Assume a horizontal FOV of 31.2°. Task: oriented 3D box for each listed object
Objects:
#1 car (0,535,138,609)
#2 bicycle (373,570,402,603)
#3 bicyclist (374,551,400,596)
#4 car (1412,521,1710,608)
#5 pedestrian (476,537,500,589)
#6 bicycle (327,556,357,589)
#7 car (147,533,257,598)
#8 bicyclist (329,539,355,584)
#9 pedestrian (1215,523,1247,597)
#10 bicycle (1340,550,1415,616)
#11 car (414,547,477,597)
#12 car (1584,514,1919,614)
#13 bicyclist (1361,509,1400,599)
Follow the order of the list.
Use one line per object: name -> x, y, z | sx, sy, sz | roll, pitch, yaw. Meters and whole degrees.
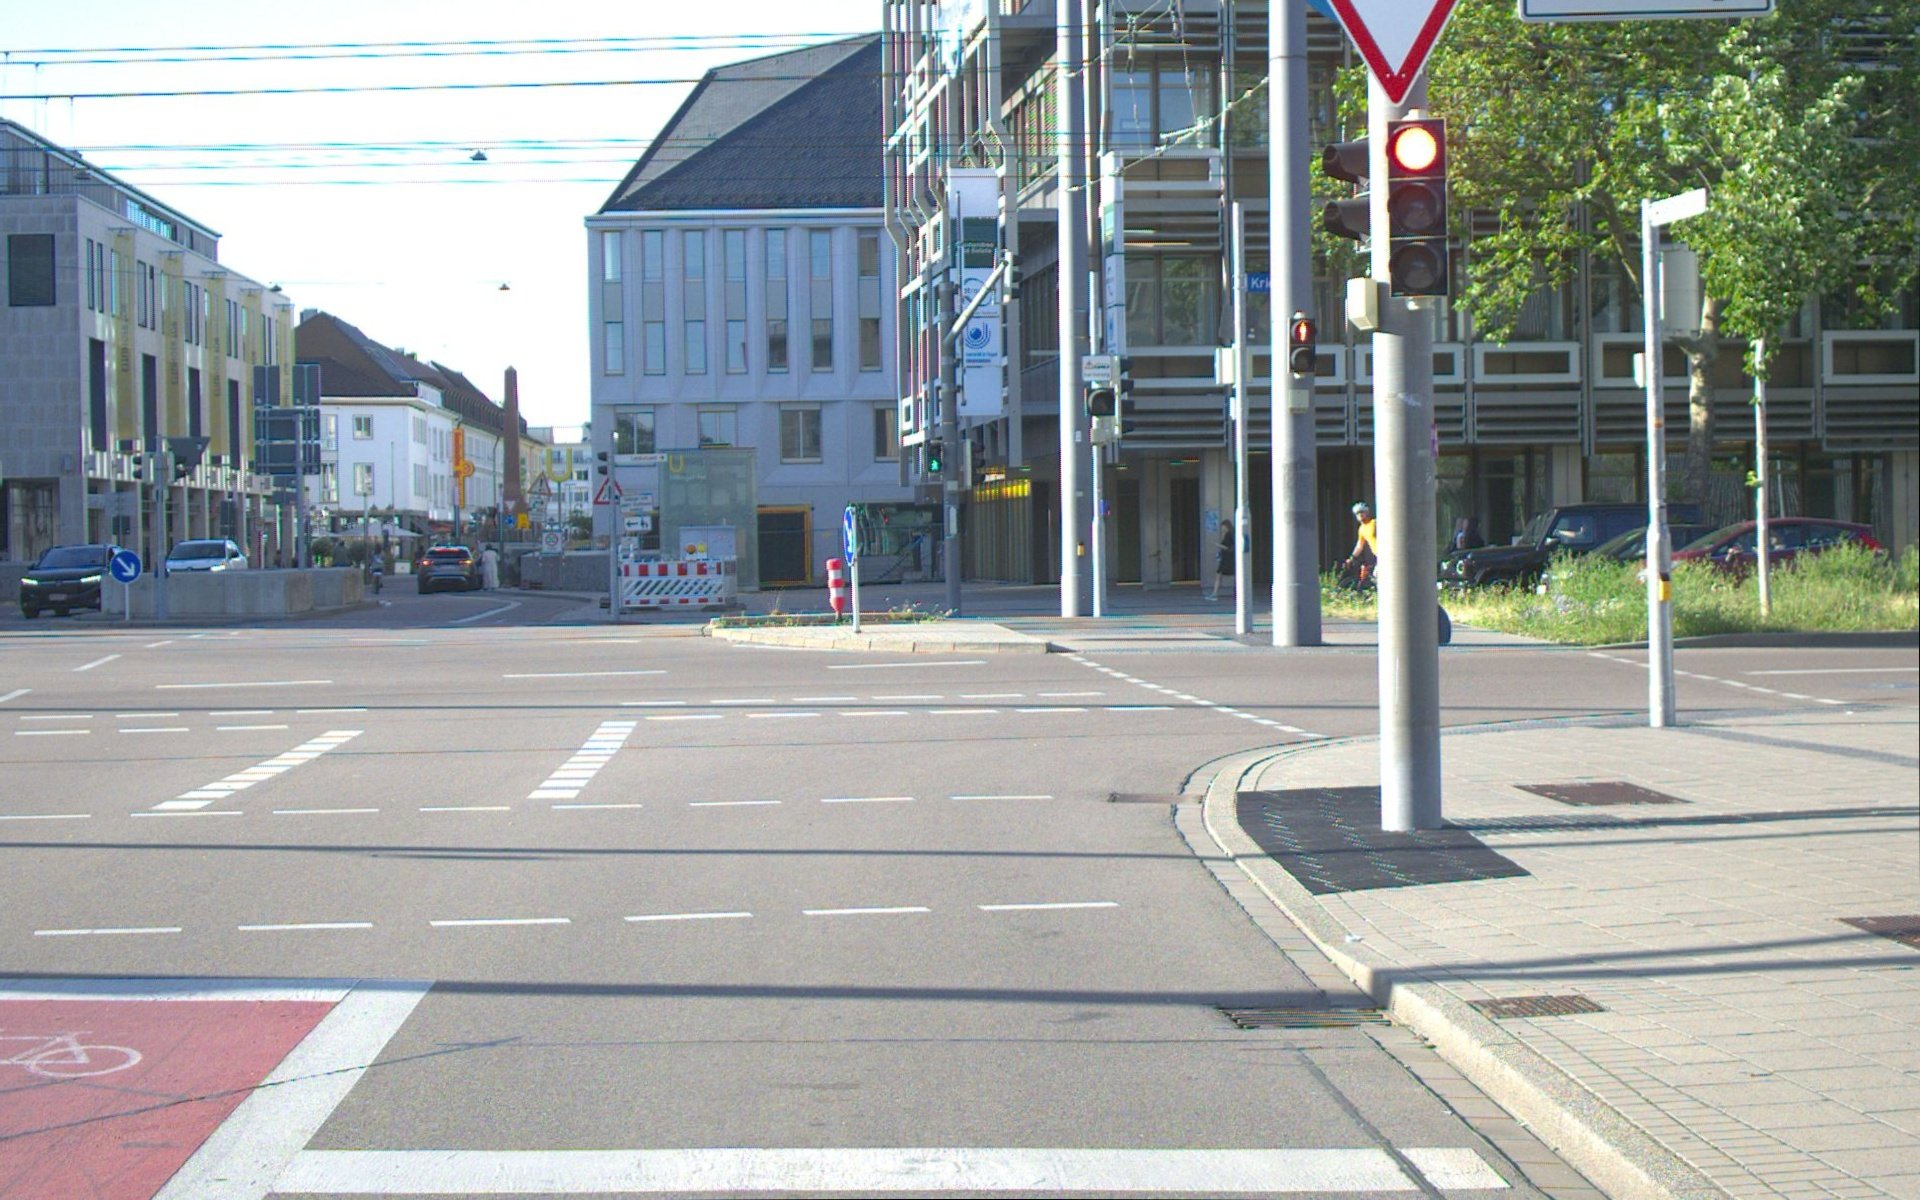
car -> -19.287, -0.624, 74.525 | 1.993, 1.525, 4.036 | -1, 1, 0
bicycle -> -18.919, -0.447, 113.672 | 0.741, 1.042, 2.432 | -1, 1, -5
bicyclist -> -18.943, -0.869, 113.725 | 0.746, 1.456, 0.767 | -1, 1, -4
car -> 10.190, -0.626, 58.514 | 4.630, 1.351, 2.001 | -1, 3, -5
pedestrian -> -15.499, -1.215, 112.882 | 0.714, 1.662, 0.987 | -1, 1, -5
bicycle -> -20.306, -0.912, 113.027 | 0.741, 1.042, 2.432 | -1, 1, -5
car -> -19.833, -0.932, 90.147 | 1.993, 1.617, 4.238 | -1, 1, -1
bicyclist -> -20.304, -1.265, 112.991 | 0.746, 1.456, 0.767 | -1, 1, -4
pedestrian -> 5.559, -0.821, 70.482 | 0.623, 1.513, 0.653 | -1, 1, 7
bicycle -> 6.283, -0.259, 51.757 | 1.076, 0.967, 0.458 | -1, 1, 1
car -> -16.846, -0.940, 112.671 | 1.993, 1.546, 4.001 | -1, 1, -8
car -> 11.782, -0.547, 50.908 | 4.630, 1.351, 2.001 | -1, 3, -5
bicyclist -> 6.329, -0.696, 51.753 | 0.508, 1.333, 0.452 | -1, 1, 1
